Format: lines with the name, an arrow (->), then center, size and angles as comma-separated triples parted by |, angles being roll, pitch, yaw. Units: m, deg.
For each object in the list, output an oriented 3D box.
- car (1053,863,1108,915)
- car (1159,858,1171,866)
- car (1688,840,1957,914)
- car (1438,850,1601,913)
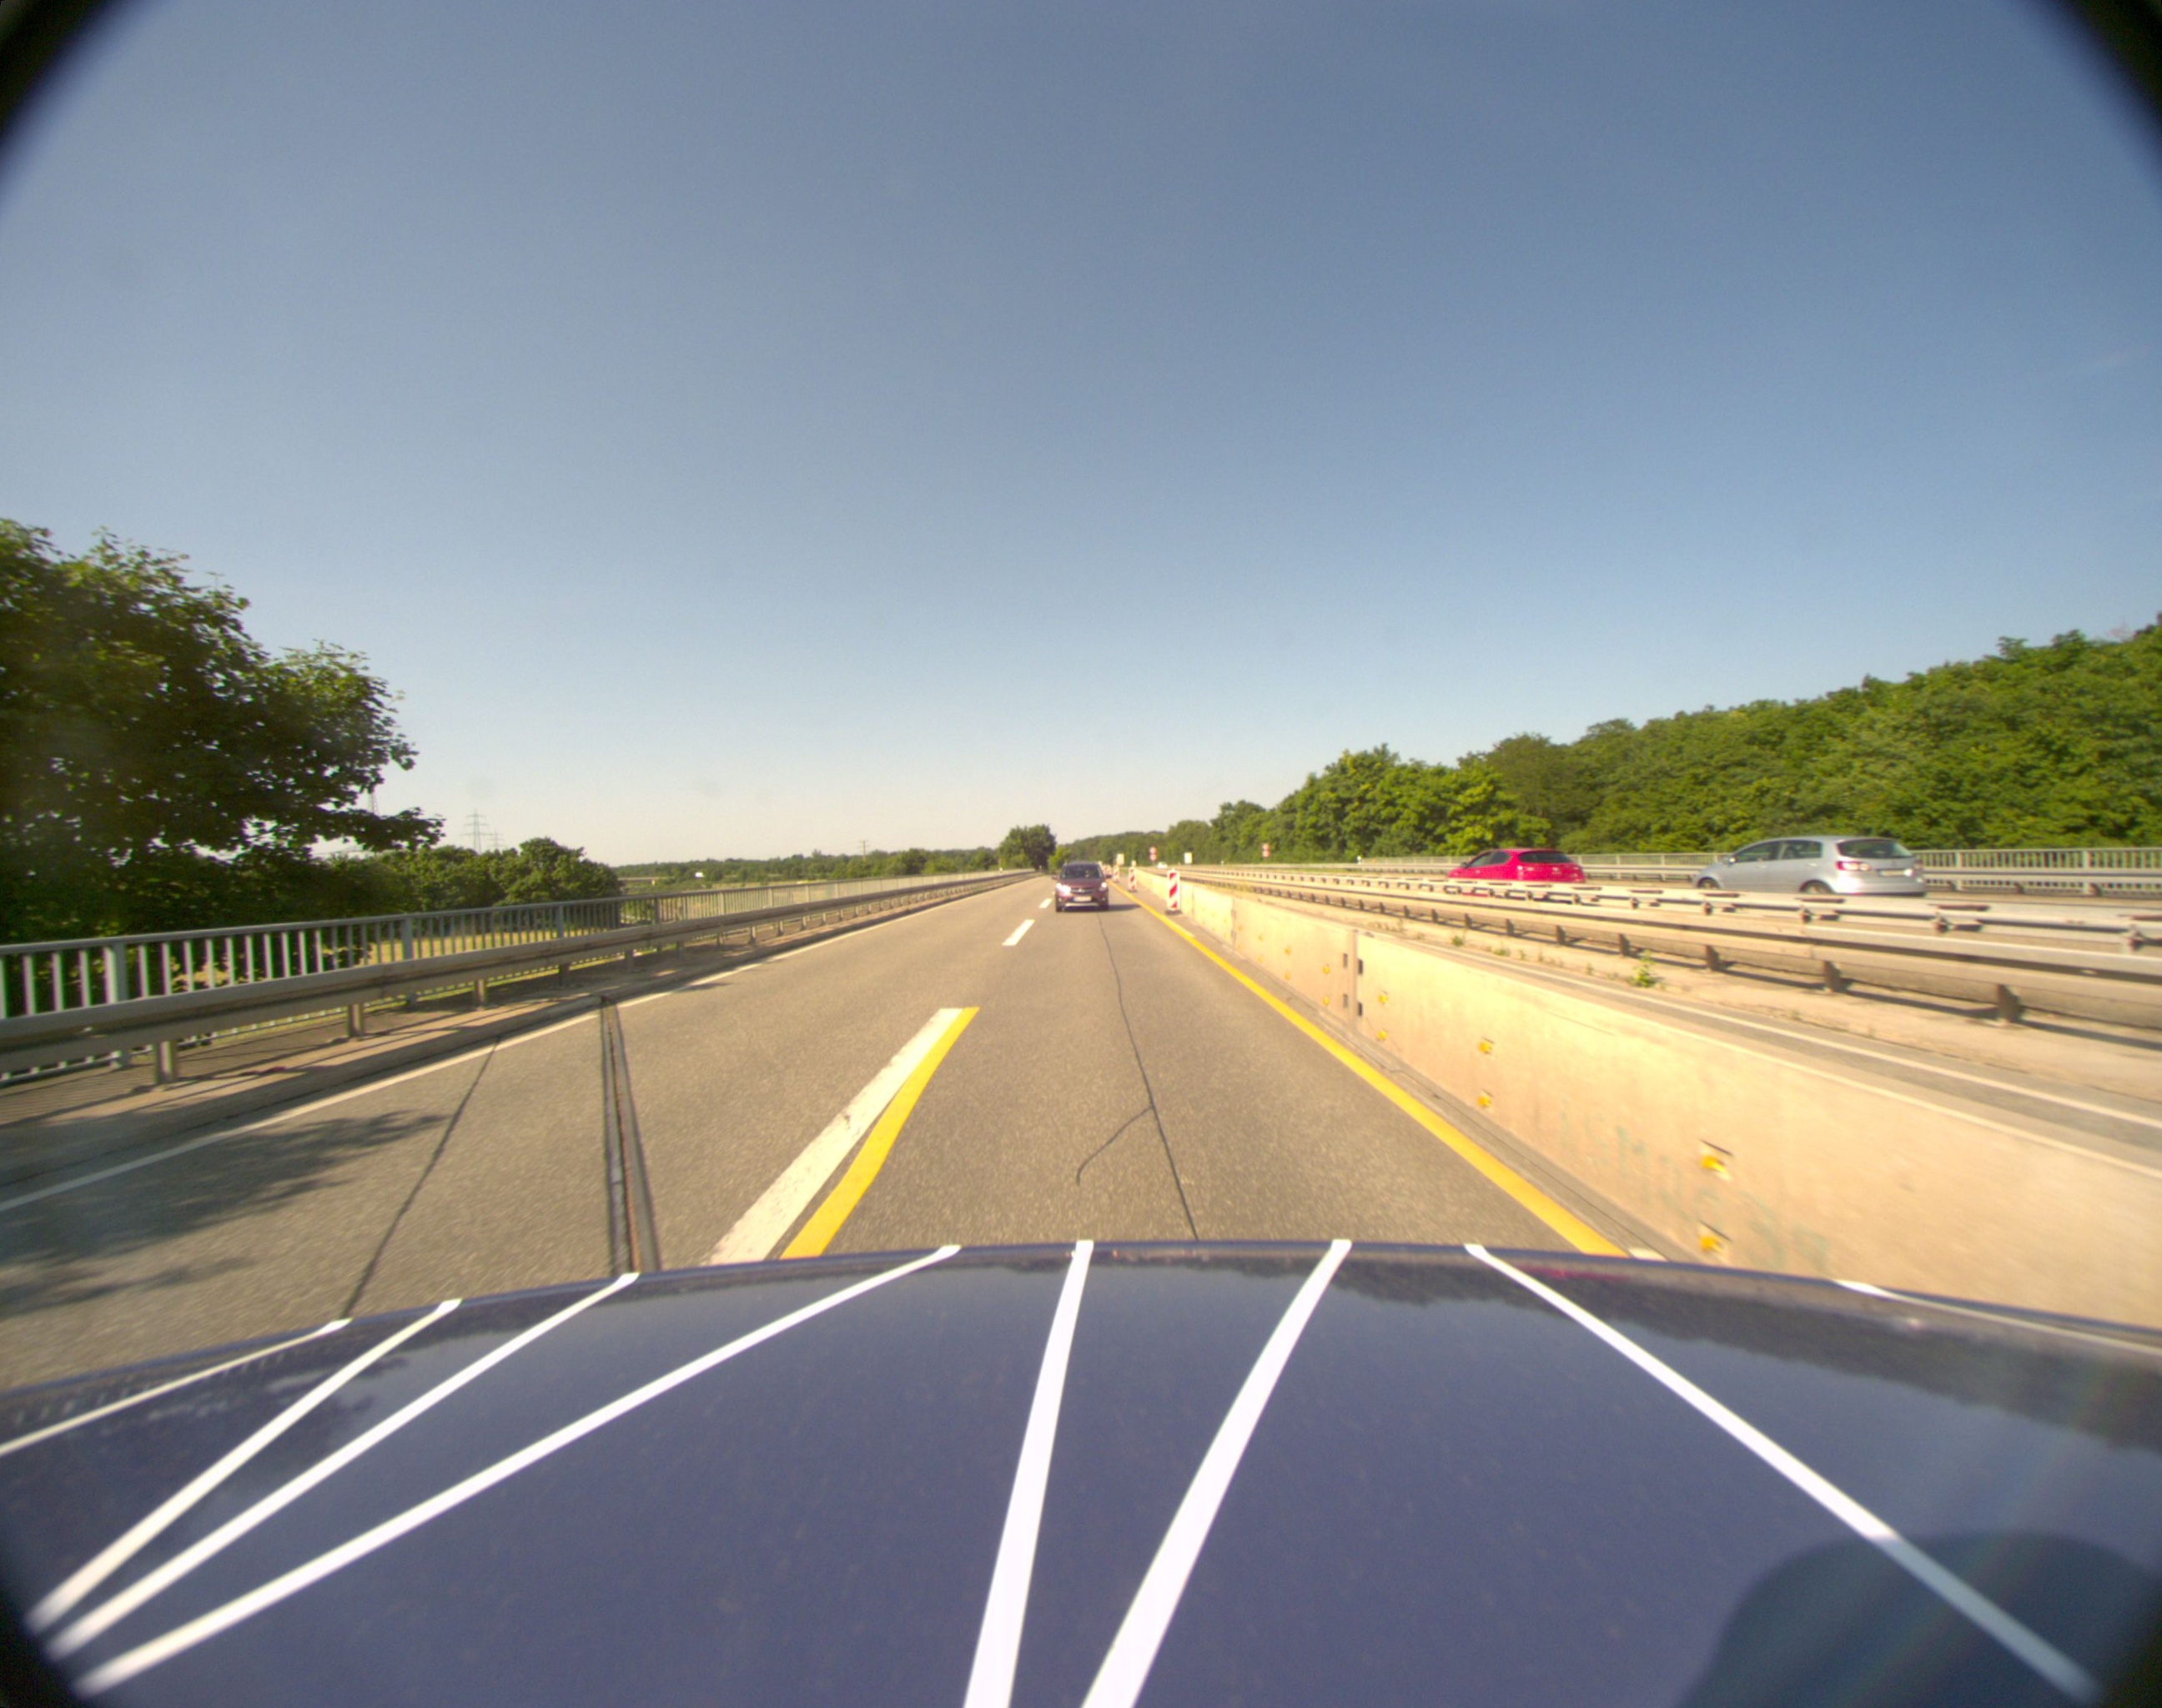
car -> 0.075, 1.042, 24.347 | 1.587, 1.491, 4.416 | 0, 0, 2
car -> 16.032, 1.478, 144.855 | 1.744, 1.331, 4.552 | -4, 0, 0
car -> 15.573, 0.433, 16.336 | 1.781, 1.384, 4.126 | 0, 0, 0
car -> 10.998, 0.628, 19.448 | 1.718, 1.388, 4.221 | -1, 0, 0
